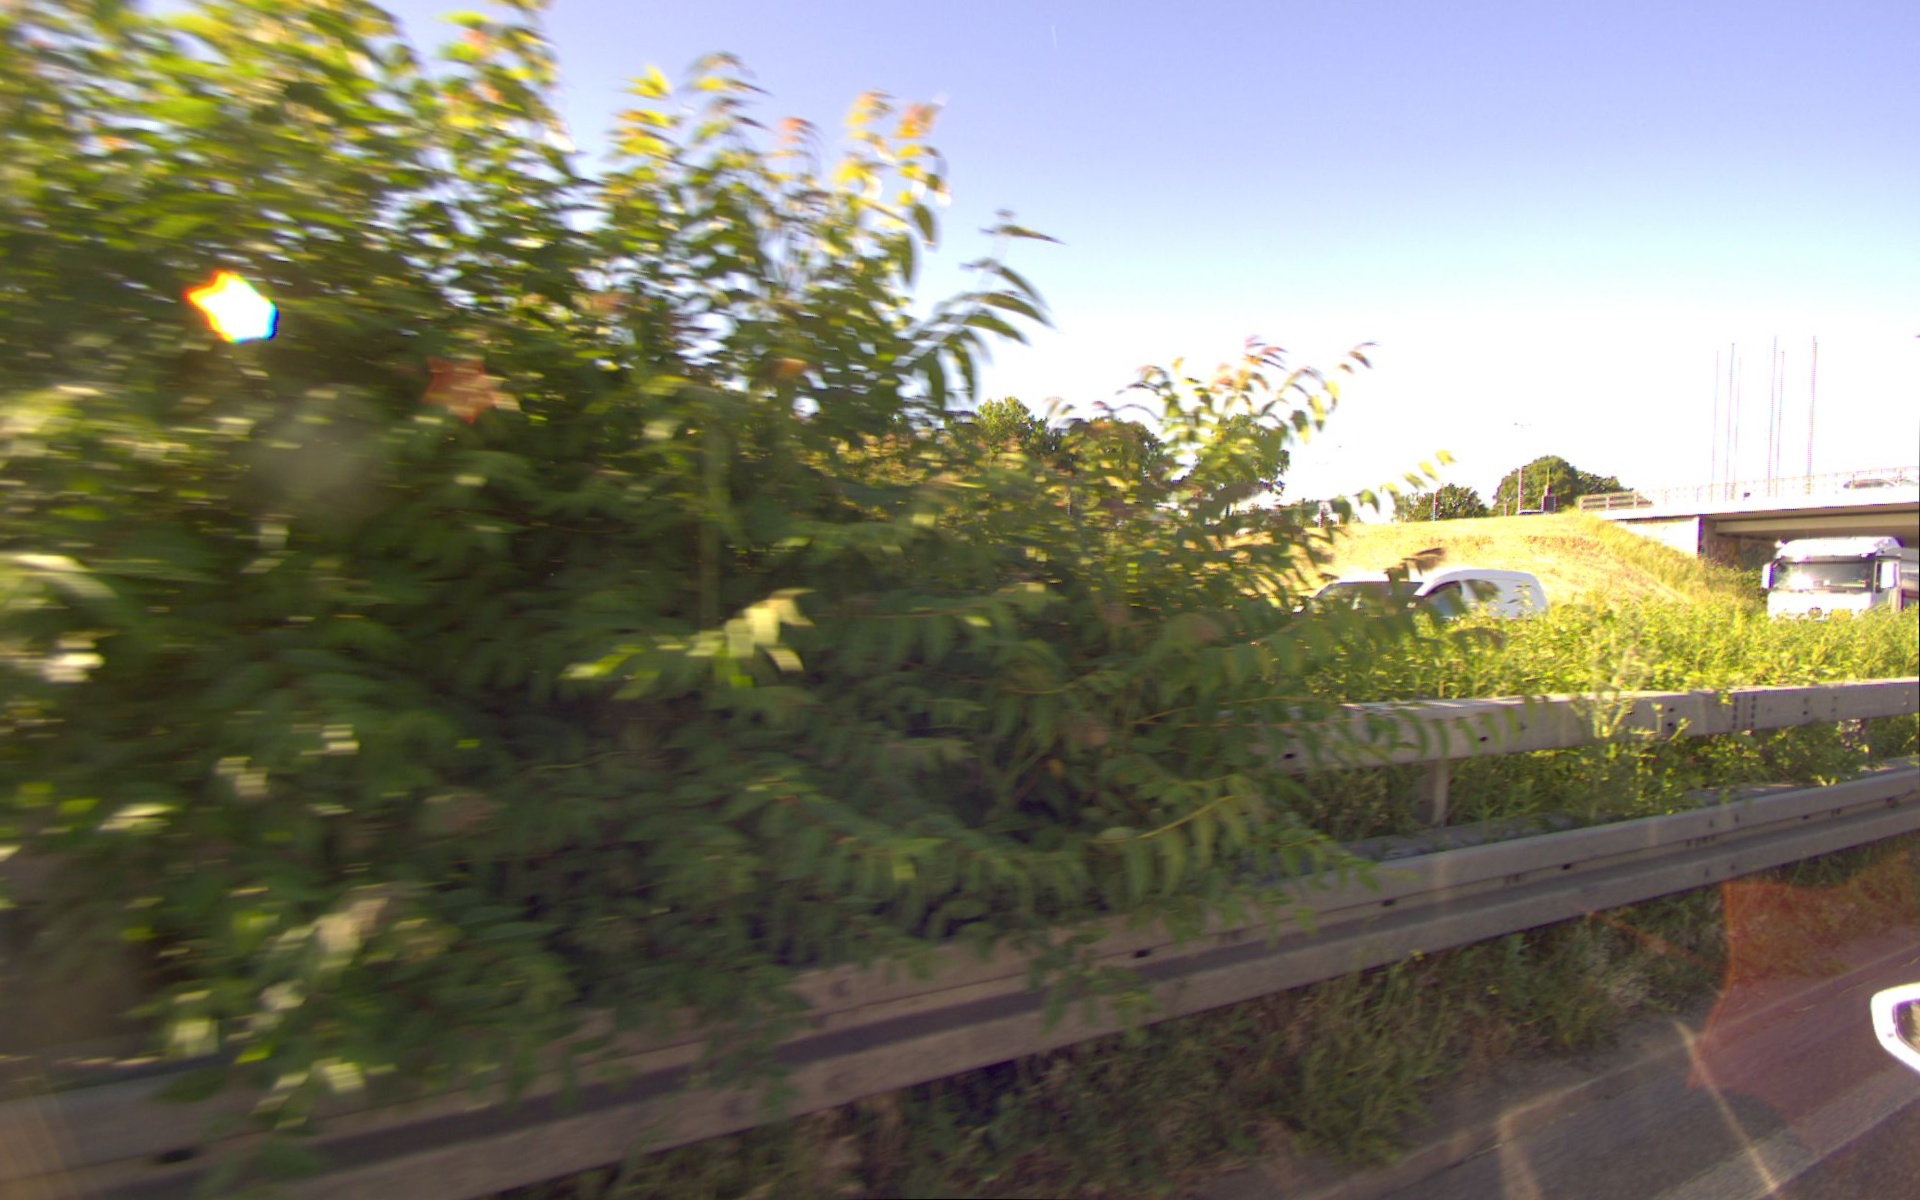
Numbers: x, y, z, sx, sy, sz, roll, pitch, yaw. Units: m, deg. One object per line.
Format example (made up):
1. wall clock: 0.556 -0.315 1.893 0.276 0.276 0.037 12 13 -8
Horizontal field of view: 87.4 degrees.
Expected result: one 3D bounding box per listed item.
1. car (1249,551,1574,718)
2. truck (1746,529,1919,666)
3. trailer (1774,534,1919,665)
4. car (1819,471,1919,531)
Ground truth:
1. car: 5.514 0.373 12.166 3.851 1.739 1.676 1 1 -31
2. truck: 26.098 -0.071 29.778 5.266 3.706 2.760 1 1 -33
3. trailer: 30.683 0.030 32.694 12.069 3.706 2.761 1 1 -32
4. car: 49.968 -5.361 54.859 2.043 2.843 4.317 1 1 -8
